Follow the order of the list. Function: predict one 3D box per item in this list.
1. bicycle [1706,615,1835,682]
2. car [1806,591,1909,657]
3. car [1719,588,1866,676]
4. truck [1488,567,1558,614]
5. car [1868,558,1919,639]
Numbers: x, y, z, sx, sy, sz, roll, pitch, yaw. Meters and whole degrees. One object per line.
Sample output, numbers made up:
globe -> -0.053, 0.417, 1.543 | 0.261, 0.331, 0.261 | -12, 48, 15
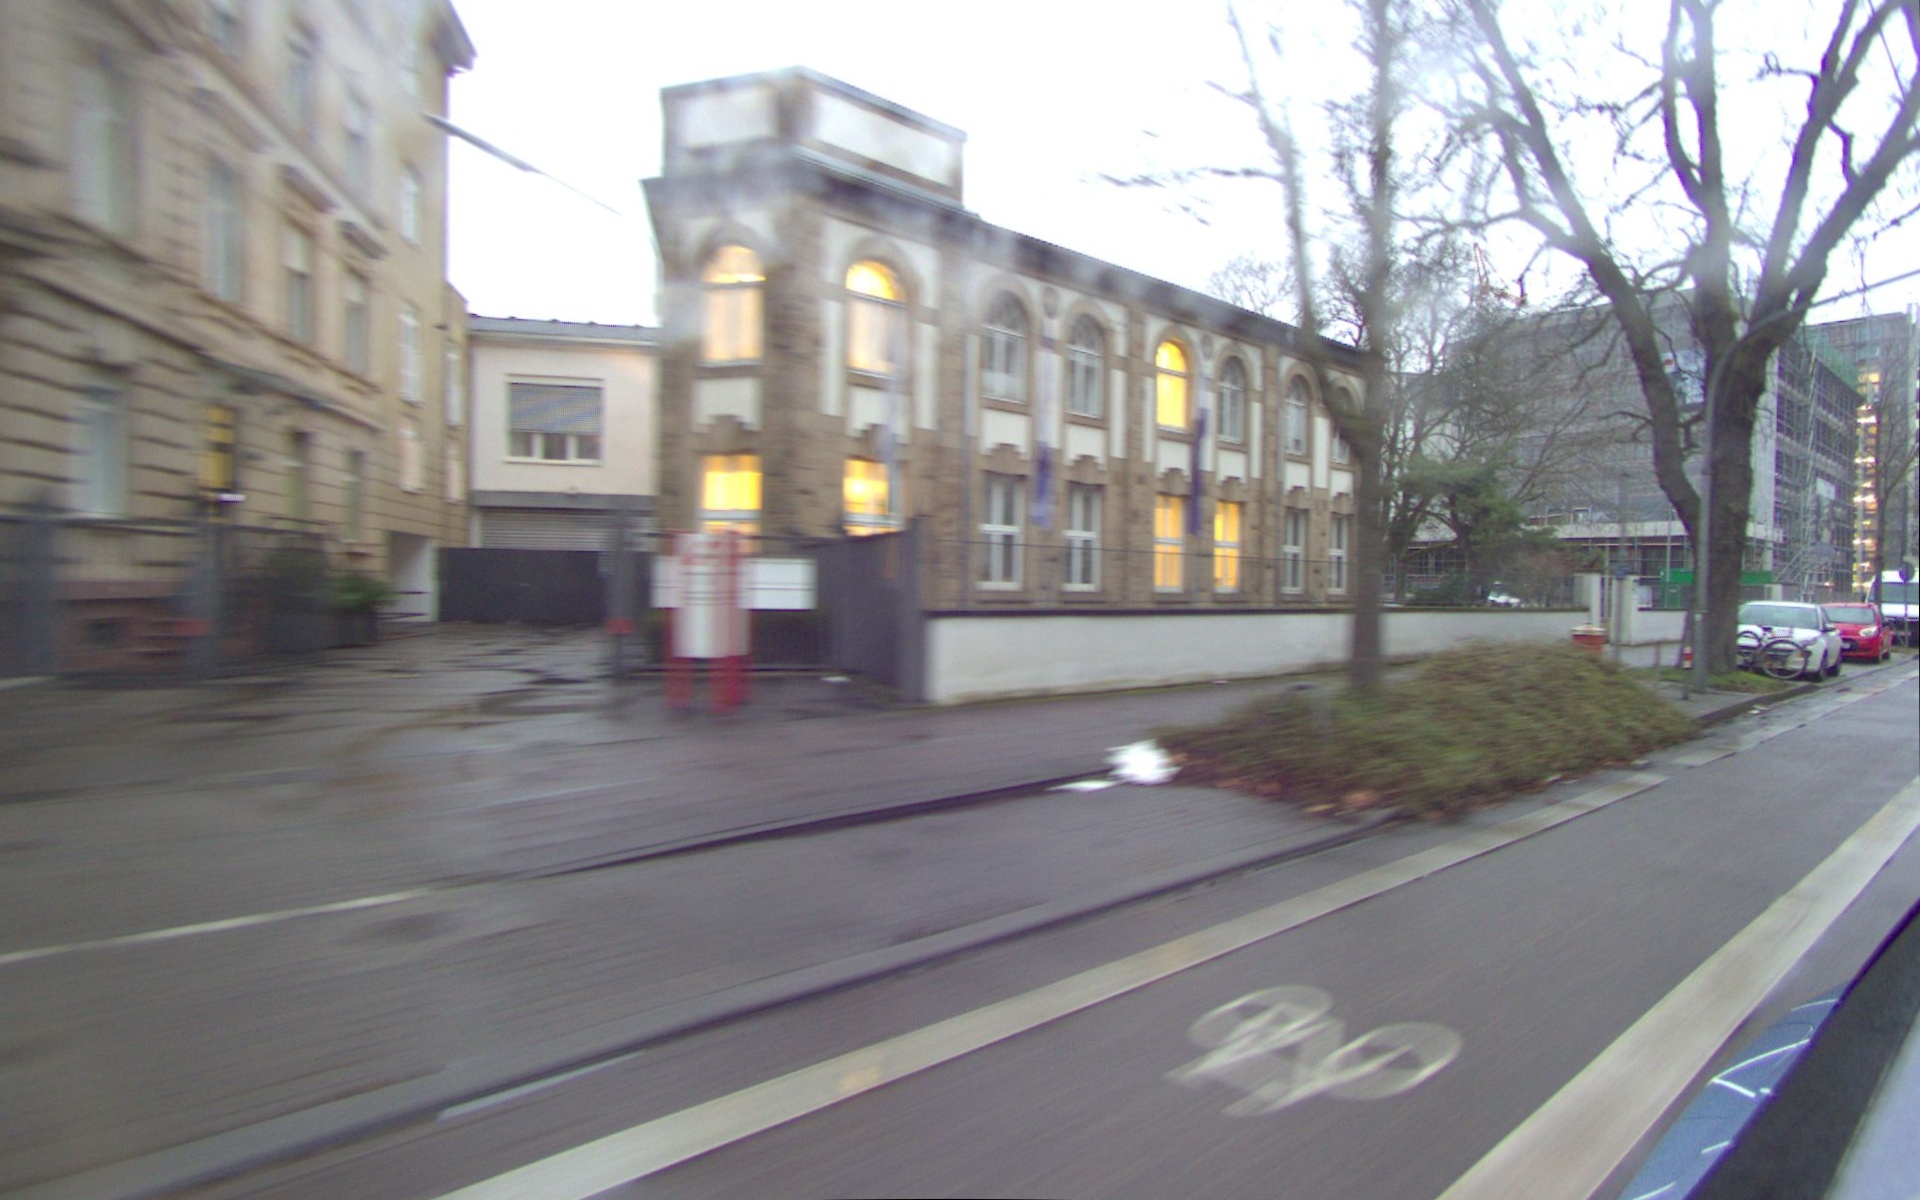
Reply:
bicycle -> 14.691, 0.853, 18.377 | 0.651, 1.084, 1.716 | 1, 1, -40
car -> 22.871, 0.582, 25.755 | 3.512, 1.542, 1.645 | 1, 0, -43
car -> 16.529, 0.582, 20.042 | 3.574, 1.538, 1.694 | 1, 1, -42
truck -> 33.758, -0.638, 60.532 | 2.125, 2.619, 6.975 | 2, 3, 42
car -> 31.651, -0.023, 33.323 | 5.347, 2.518, 2.127 | 1, 1, -43
